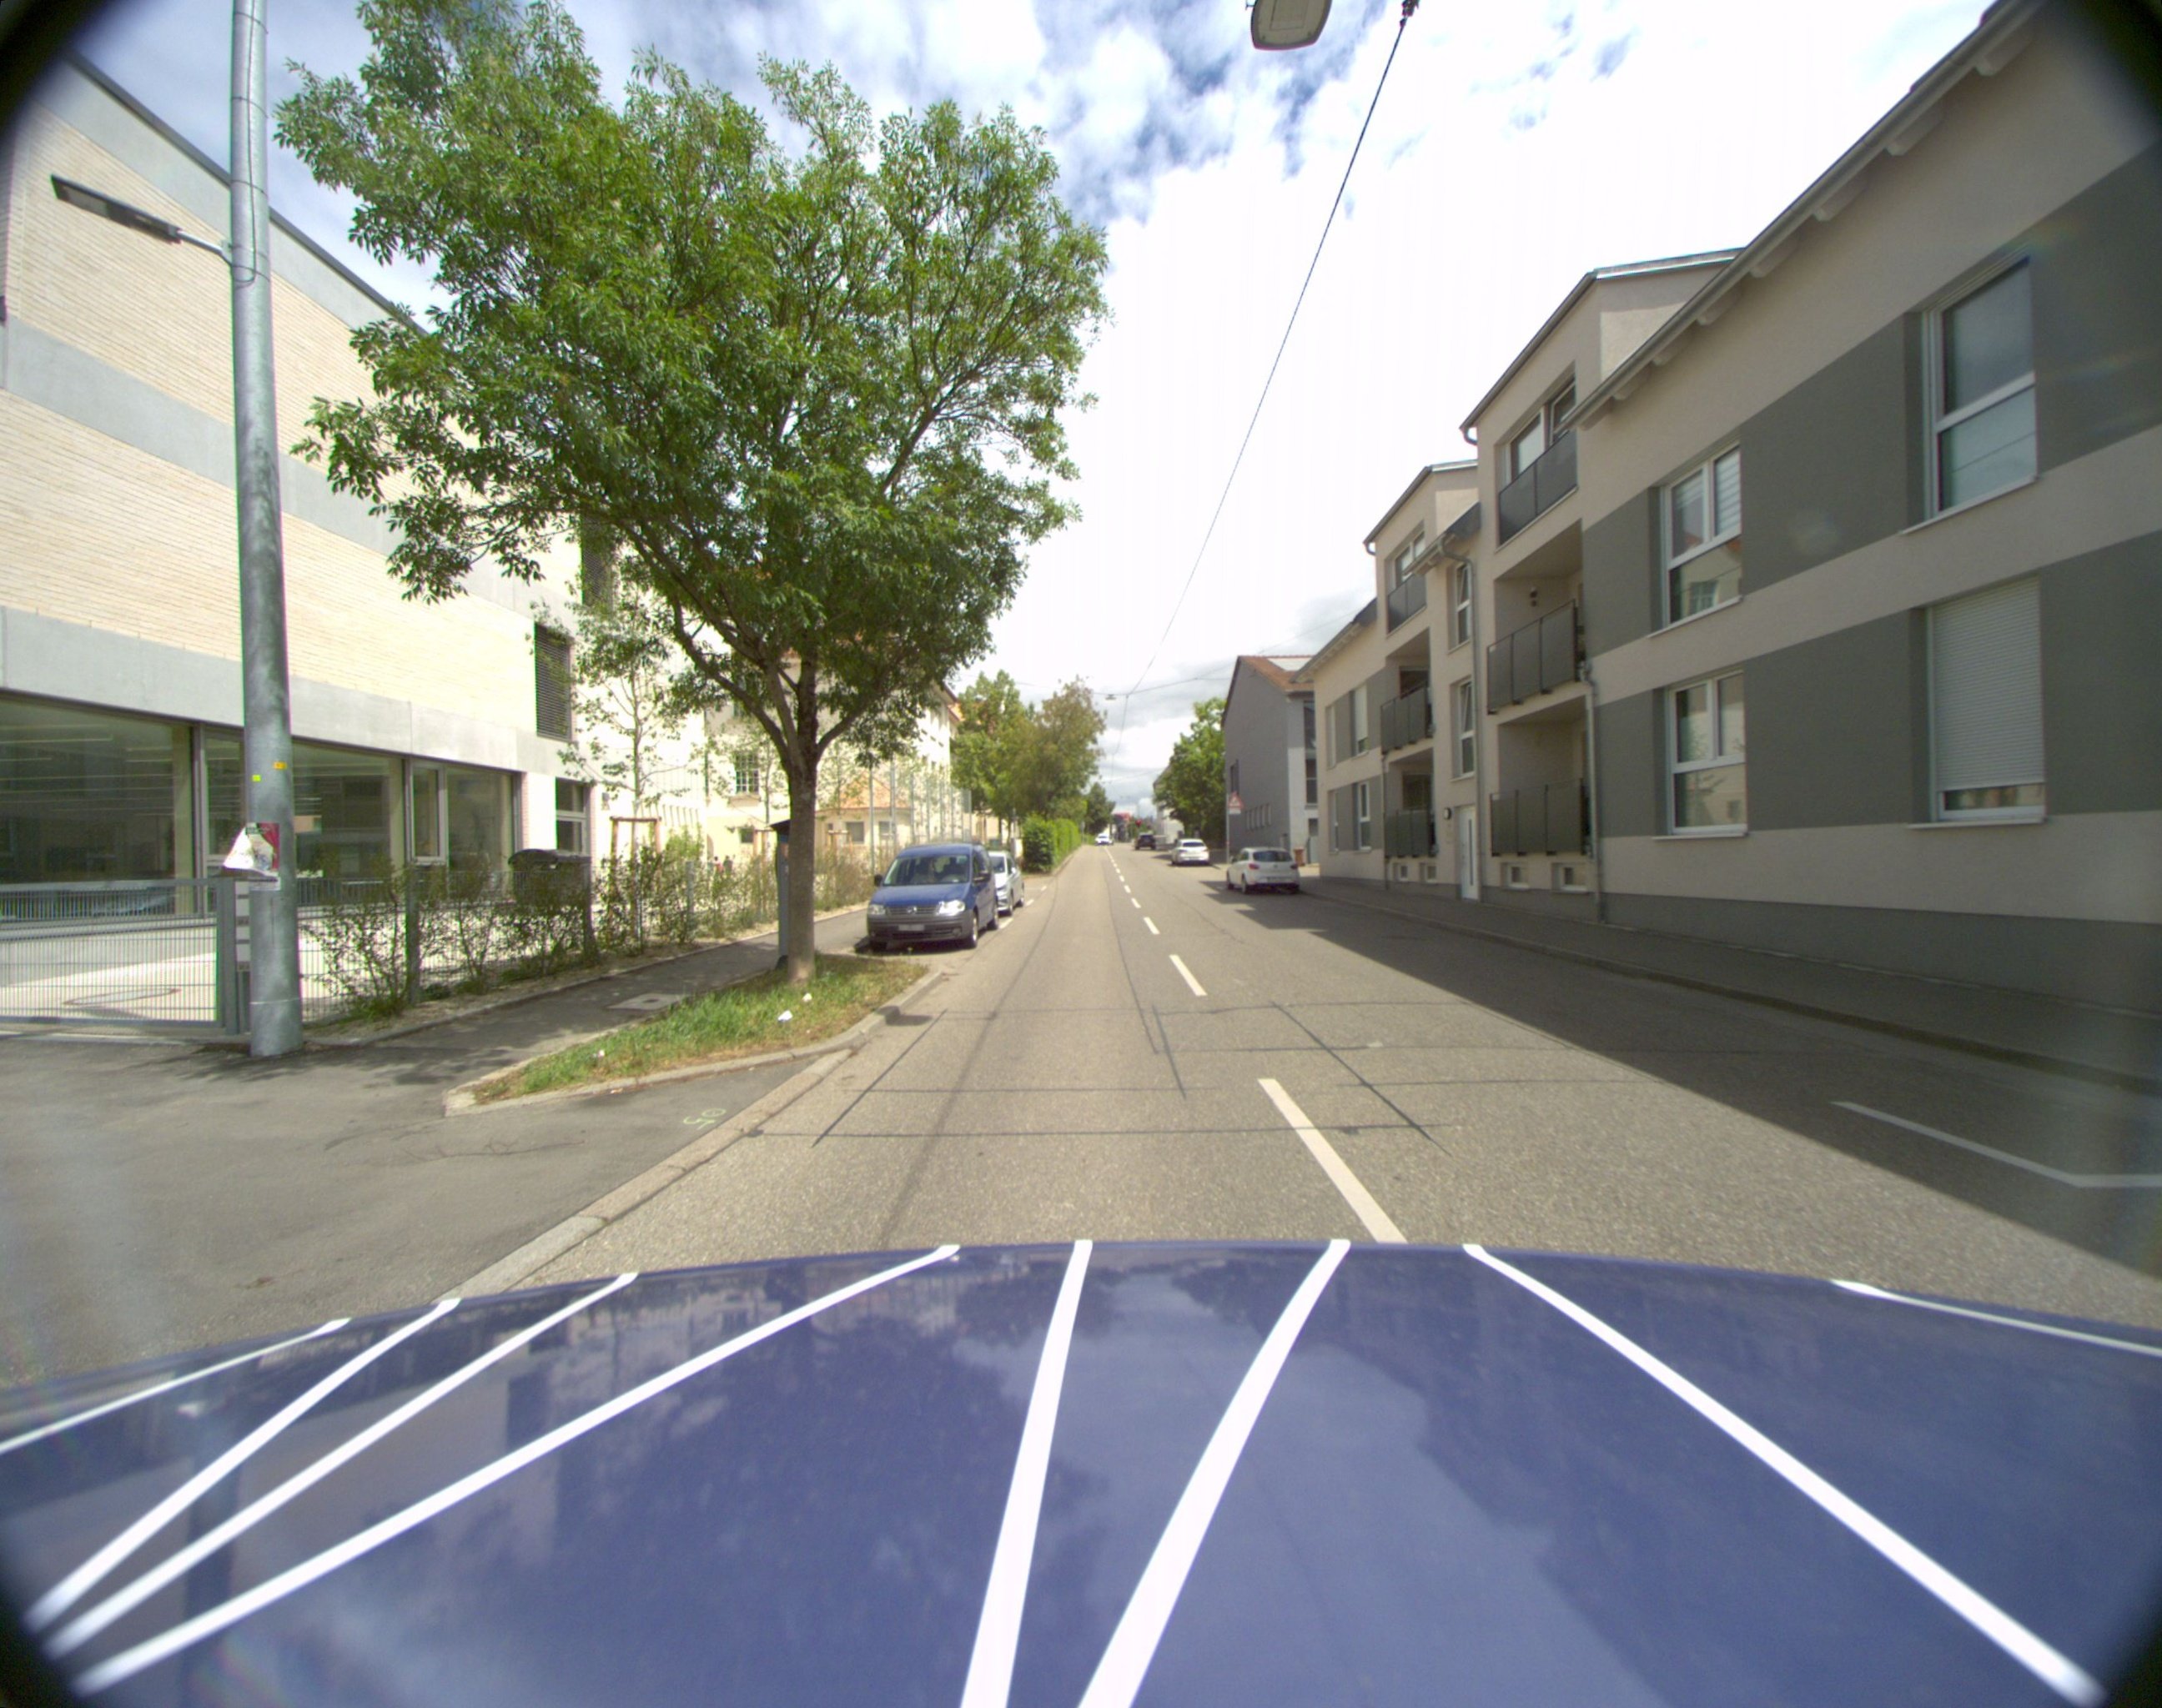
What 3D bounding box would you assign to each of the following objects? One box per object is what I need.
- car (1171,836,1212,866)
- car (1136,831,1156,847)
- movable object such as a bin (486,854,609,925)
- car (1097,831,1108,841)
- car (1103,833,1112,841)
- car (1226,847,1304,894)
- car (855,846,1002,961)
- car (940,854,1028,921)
[{"bbox_3d":[6.077,-0.188,42.094,1.737,1.480,4.065,-1,2,1],"label":"car"},{"bbox_3d":[6.430,-1.505,75.260,1.672,1.545,3.964,-1,2,1],"label":"car"},{"bbox_3d":[-11.681,0.738,16.741,1.351,1.438,1.807,-2,0,2],"label":"movable object such as a bin"},{"bbox_3d":[2.765,-2.266,96.958,1.298,1.148,2.983,-2,0,1],"label":"car"},{"bbox_3d":[4.016,-2.531,116.368,1.298,1.148,2.983,-2,0,1],"label":"car"},{"bbox_3d":[5.755,0.477,24.145,1.665,1.322,3.474,-2,0,1],"label":"car"},{"bbox_3d":[-2.559,0.753,13.768,1.698,1.733,4.159,-2,0,1],"label":"car"},{"bbox_3d":[-2.383,0.778,19.454,1.677,1.510,3.670,-2,0,1],"label":"car"}]
